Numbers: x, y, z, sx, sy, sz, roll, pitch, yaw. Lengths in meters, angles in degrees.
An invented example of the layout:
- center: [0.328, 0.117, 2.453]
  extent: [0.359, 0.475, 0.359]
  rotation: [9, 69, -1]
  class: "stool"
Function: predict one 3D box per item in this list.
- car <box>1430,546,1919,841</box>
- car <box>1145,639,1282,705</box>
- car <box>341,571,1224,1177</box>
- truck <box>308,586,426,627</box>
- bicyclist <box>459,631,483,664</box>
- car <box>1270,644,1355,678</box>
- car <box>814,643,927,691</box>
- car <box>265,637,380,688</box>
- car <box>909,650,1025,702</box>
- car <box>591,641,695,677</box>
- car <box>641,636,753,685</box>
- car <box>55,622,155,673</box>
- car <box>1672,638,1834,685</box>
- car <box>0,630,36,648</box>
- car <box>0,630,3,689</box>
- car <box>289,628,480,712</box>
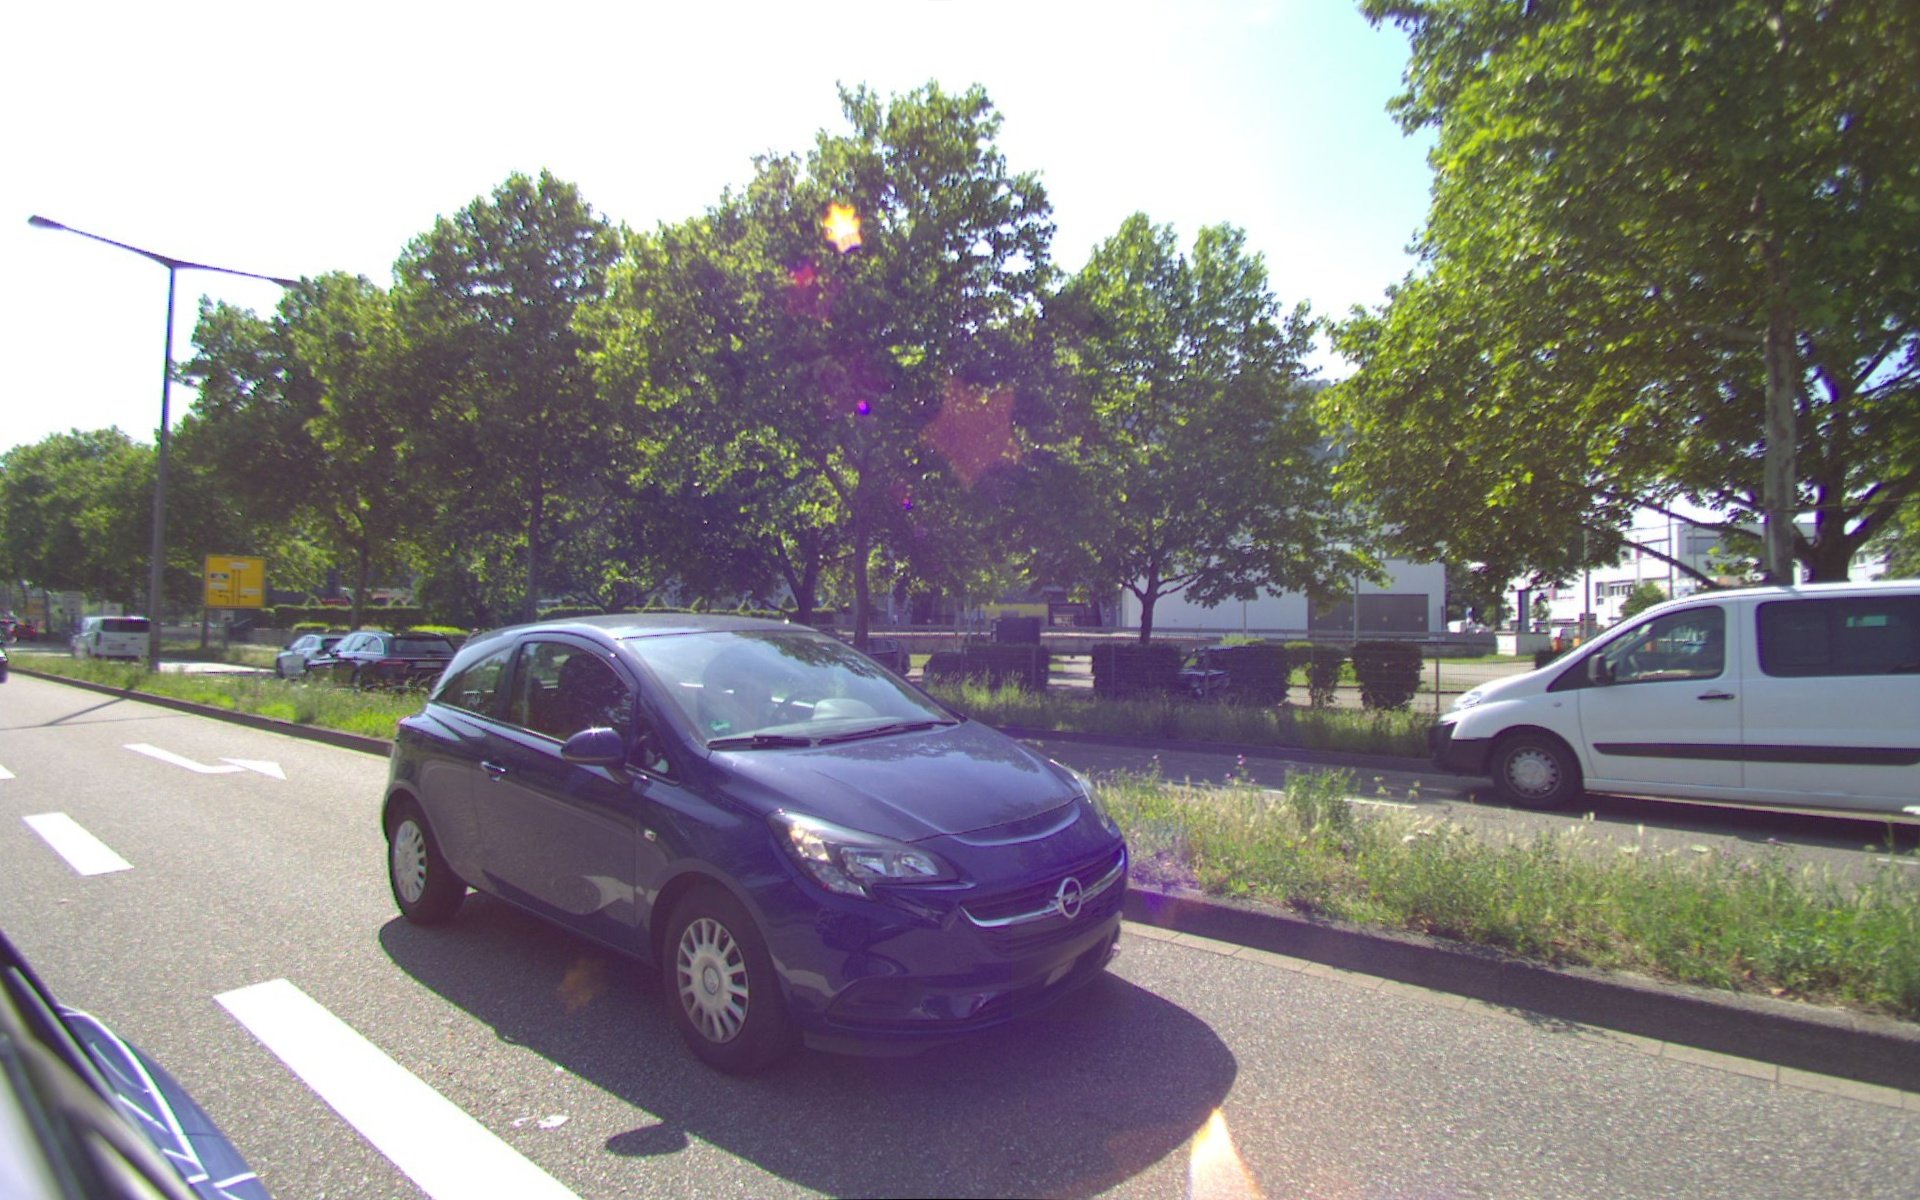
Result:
- center: [6.824, 0.690, 8.085]
  extent: [5.210, 2.029, 1.973]
  rotation: [-2, -3, 41]
  class: "car"
- center: [6.450, 1.759, 25.523]
  extent: [1.808, 1.506, 3.946]
  rotation: [-2, -3, 40]
  class: "car"
- center: [-1.090, 0.722, 4.443]
  extent: [4.046, 1.494, 1.609]
  rotation: [-2, -1, 41]
  class: "car"
- center: [-51.086, 0.597, 87.297]
  extent: [8.876, 3.421, 2.669]
  rotation: [0, -2, 5]
  class: "truck"
- center: [-22.476, 2.171, 46.505]
  extent: [0.941, 1.496, 0.674]
  rotation: [-2, -3, 41]
  class: "bicyclist"
- center: [17.126, 2.944, 49.111]
  extent: [3.933, 1.516, 1.810]
  rotation: [0, -4, -33]
  class: "car"
- center: [-3.208, 2.403, 36.955]
  extent: [1.868, 1.614, 3.946]
  rotation: [-2, -3, 40]
  class: "car"
- center: [-19.635, 1.894, 31.095]
  extent: [4.356, 1.409, 1.768]
  rotation: [-1, -4, 41]
  class: "car"
- center: [0.284, 2.408, 32.726]
  extent: [1.801, 1.424, 3.952]
  rotation: [0, -1, 35]
  class: "car"
- center: [-13.607, 2.521, 43.598]
  extent: [1.772, 1.475, 3.944]
  rotation: [-2, -3, 41]
  class: "car"
- center: [-10.843, 2.459, 41.896]
  extent: [2.157, 1.837, 3.941]
  rotation: [-1, -1, 45]
  class: "car"
- center: [-34.069, 1.880, 40.284]
  extent: [5.415, 1.898, 2.095]
  rotation: [-2, -3, 40]
  class: "car"
- center: [28.716, 2.201, 36.759]
  extent: [4.286, 1.633, 1.815]
  rotation: [0, -2, 5]
  class: "car"
- center: [-78.148, 3.236, 83.957]
  extent: [3.998, 1.473, 1.745]
  rotation: [-2, -4, 41]
  class: "car"
- center: [-27.127, 1.601, 27.080]
  extent: [4.213, 1.518, 1.803]
  rotation: [-2, -1, 41]
  class: "car"
- center: [-11.981, 1.385, 20.937]
  extent: [4.680, 1.542, 1.973]
  rotation: [-2, -3, 41]
  class: "car"
